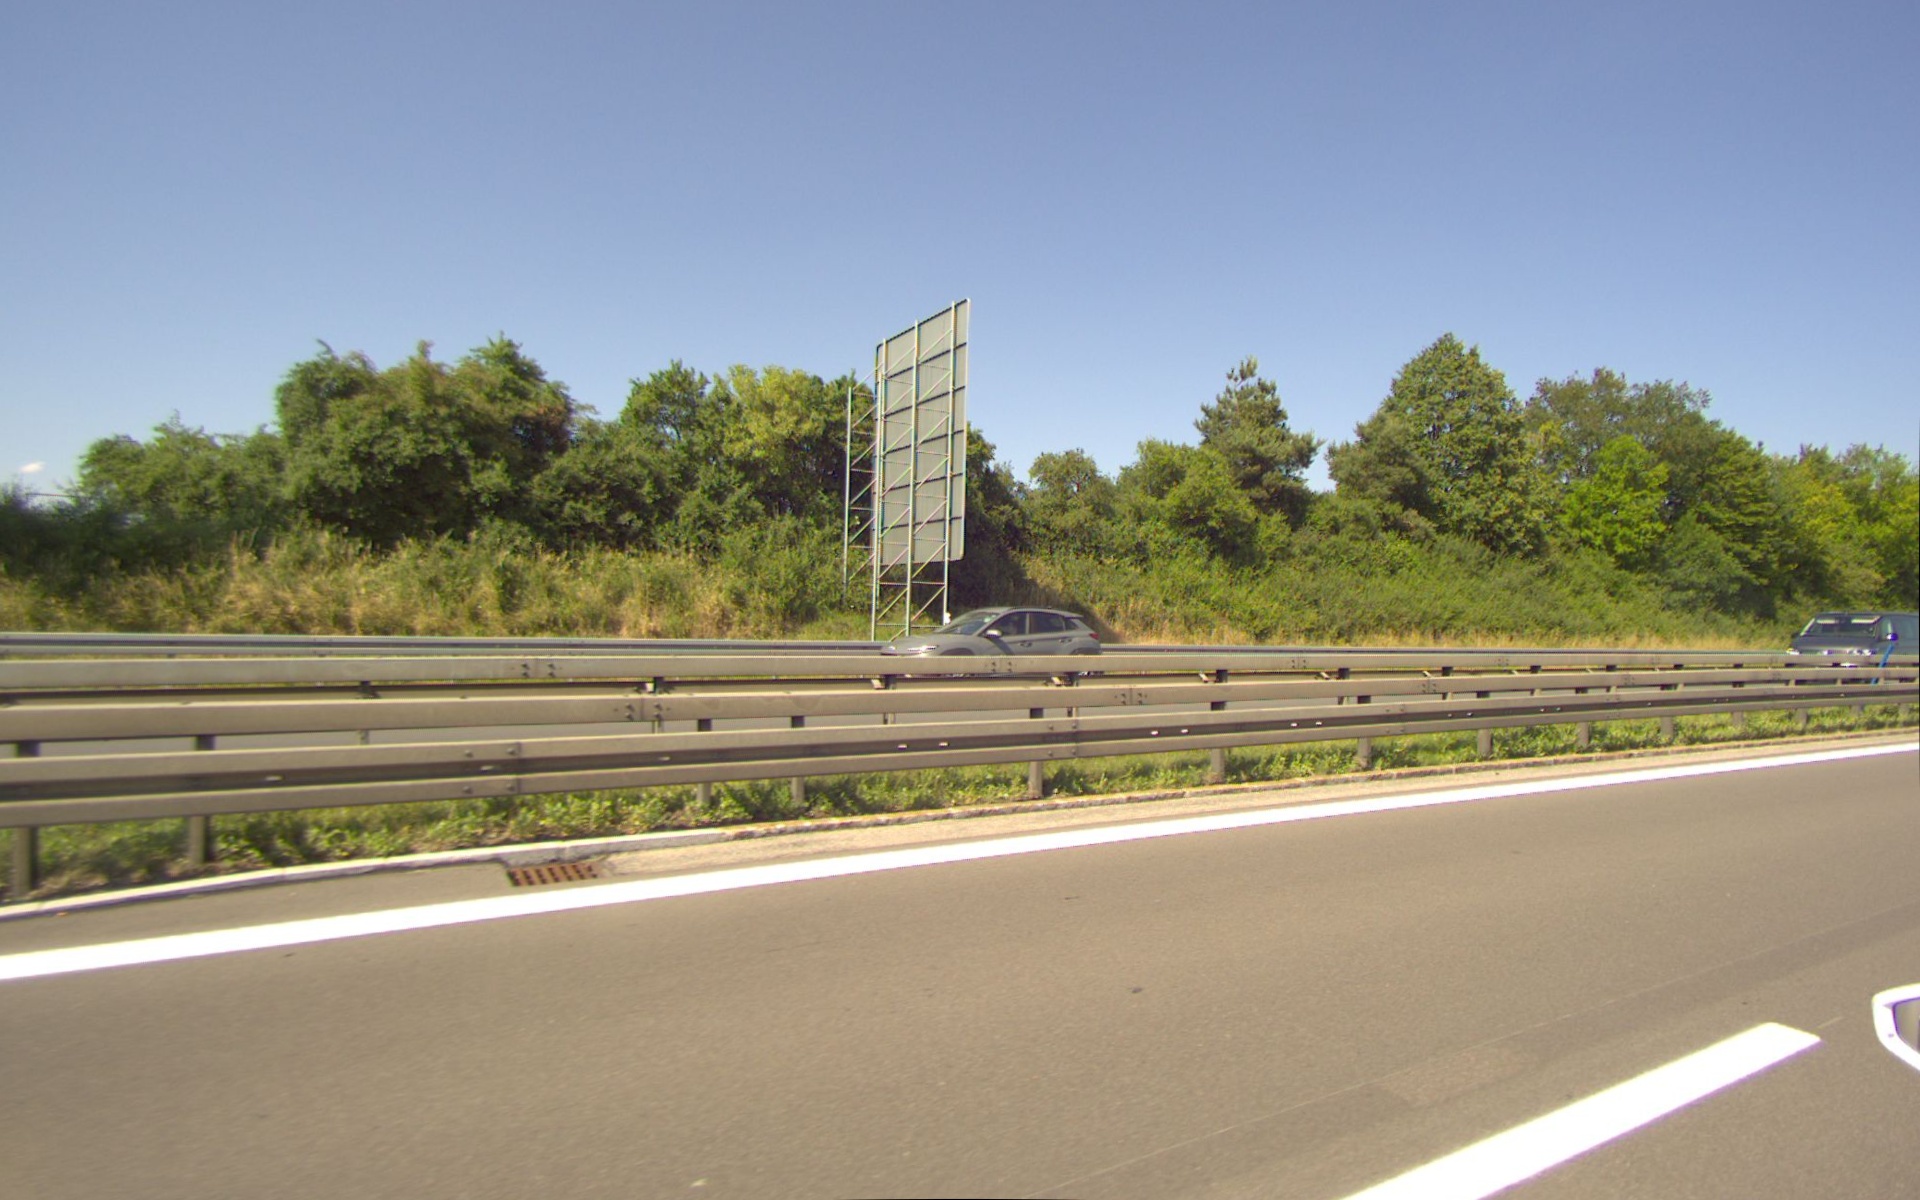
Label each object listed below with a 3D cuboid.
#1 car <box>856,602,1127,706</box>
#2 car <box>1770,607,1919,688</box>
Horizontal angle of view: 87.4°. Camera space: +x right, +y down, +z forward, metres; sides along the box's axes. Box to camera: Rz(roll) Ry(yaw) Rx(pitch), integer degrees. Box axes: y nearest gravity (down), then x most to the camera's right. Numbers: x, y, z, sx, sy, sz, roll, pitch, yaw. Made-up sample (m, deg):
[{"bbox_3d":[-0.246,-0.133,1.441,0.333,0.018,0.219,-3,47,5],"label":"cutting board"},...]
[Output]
[{"bbox_3d":[0.594,0.903,17.844,4.435,1.633,1.984,2,0,-30],"label":"car"},{"bbox_3d":[24.336,1.260,27.298,4.980,1.999,1.984,2,0,-30],"label":"car"}]
